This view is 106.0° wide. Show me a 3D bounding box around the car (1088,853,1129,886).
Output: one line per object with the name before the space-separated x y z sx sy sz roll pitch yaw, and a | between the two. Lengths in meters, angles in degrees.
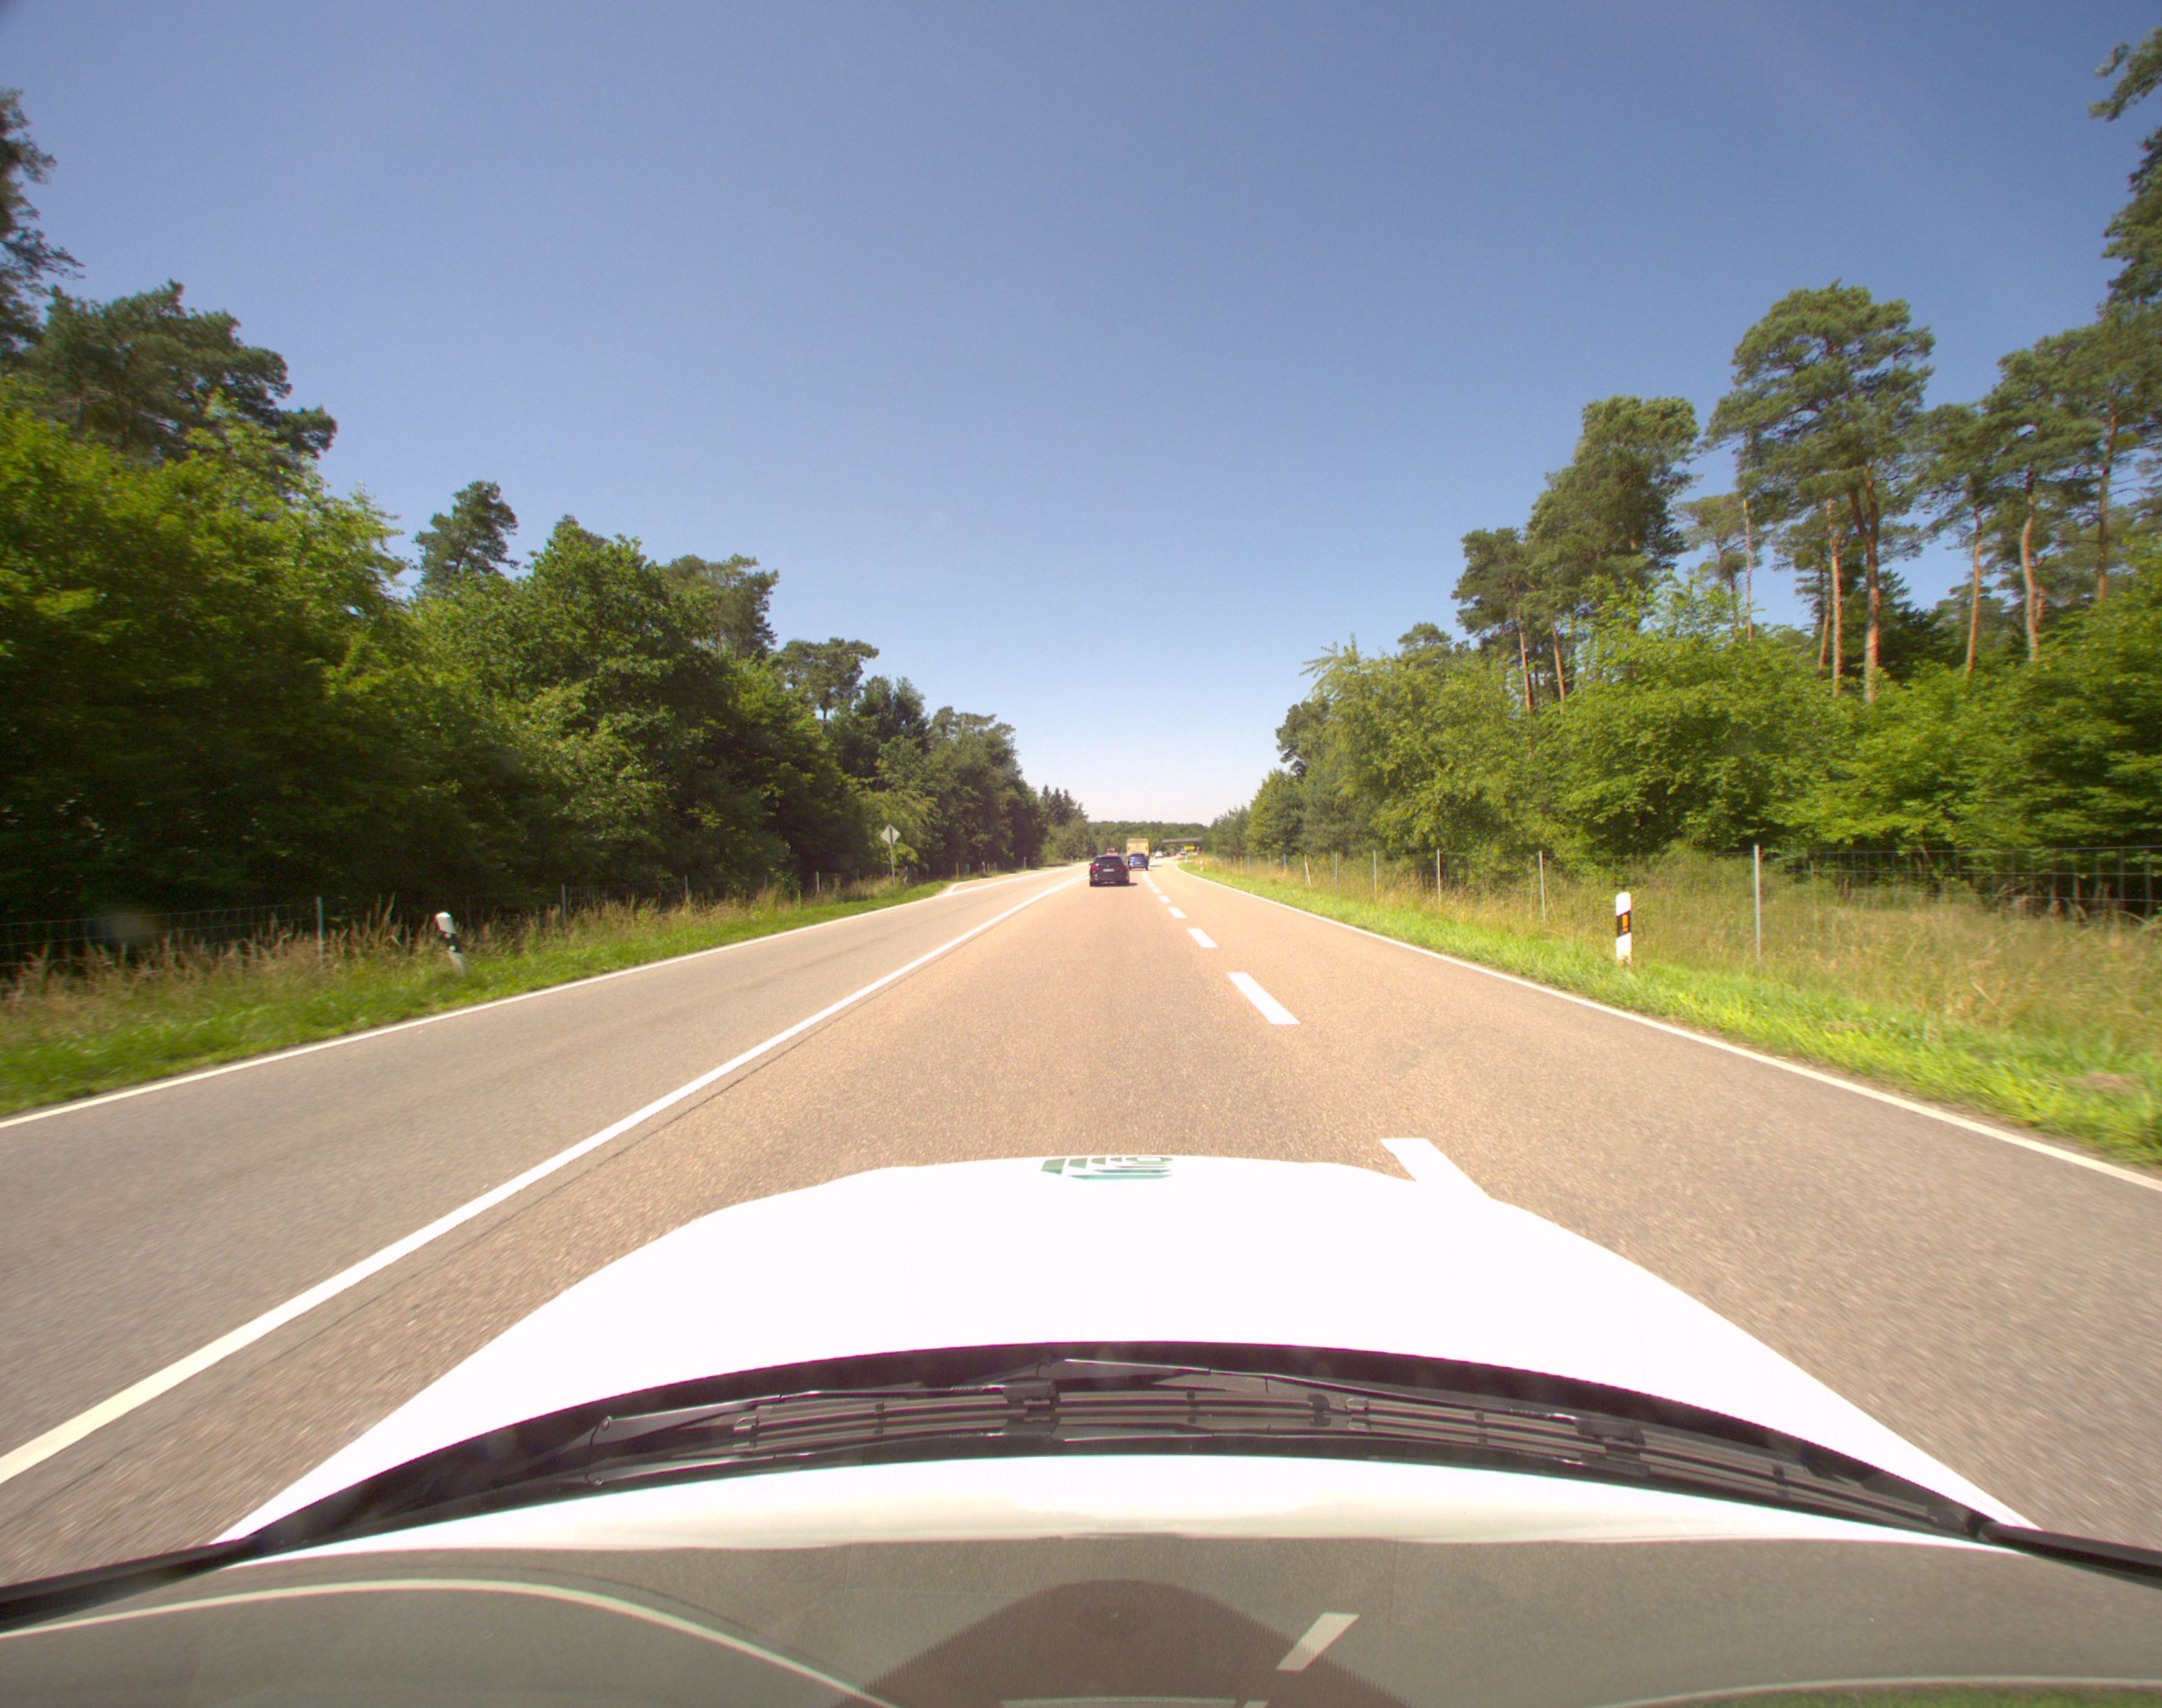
car | 1.292 0.715 39.229 1.814 1.470 4.000 -2 0 0

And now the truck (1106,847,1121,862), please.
truck | 6.245 0.144 156.176 2.386 2.722 6.563 -1 0 6

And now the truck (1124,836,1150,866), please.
truck | 6.705 -0.367 97.887 2.953 3.387 6.444 -2 0 3

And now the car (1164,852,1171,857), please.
car | 24.314 0.191 229.746 1.984 1.420 4.006 -1 0 5

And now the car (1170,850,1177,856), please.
car | 29.231 -0.287 257.915 1.983 1.636 4.007 -3 0 6

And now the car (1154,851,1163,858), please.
car | 19.086 0.036 199.998 1.856 1.605 4.002 -1 0 2

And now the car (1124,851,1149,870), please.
car | 5.016 0.573 73.811 1.941 1.541 4.000 -3 0 0
